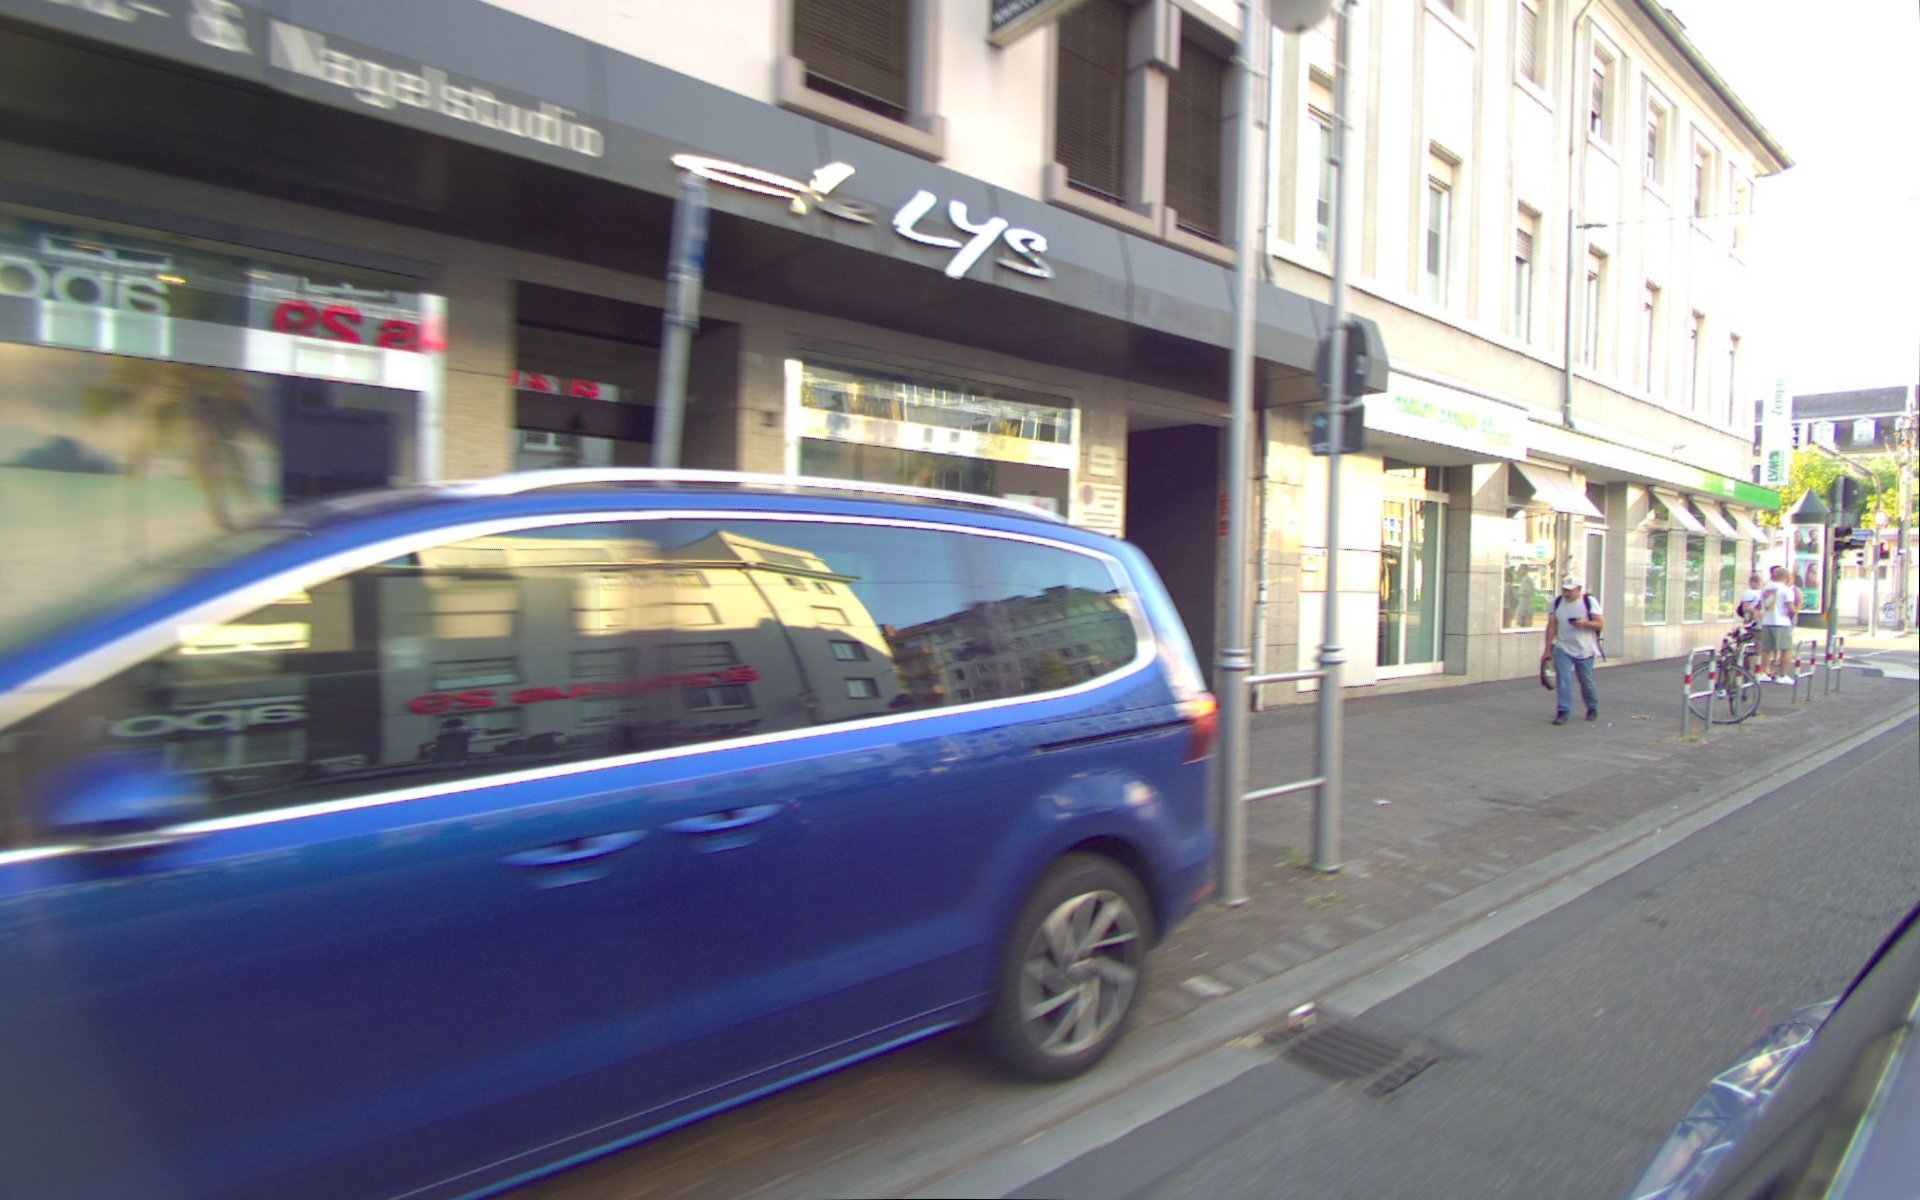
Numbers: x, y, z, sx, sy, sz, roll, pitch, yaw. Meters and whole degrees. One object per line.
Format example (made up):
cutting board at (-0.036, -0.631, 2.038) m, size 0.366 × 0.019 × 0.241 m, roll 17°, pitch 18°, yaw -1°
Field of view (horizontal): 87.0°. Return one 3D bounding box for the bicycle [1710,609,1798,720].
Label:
bicycle at (8.943, 0.688, 11.385) m, size 1.620 × 1.103 × 0.478 m, roll -1°, pitch 4°, yaw -43°

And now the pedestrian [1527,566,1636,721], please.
pedestrian at (6.638, 0.435, 10.810) m, size 0.854 × 1.567 × 0.699 m, roll 0°, pitch 2°, yaw -37°

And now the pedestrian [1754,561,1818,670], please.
pedestrian at (13.792, 0.242, 16.903) m, size 0.686 × 1.767 × 0.640 m, roll 0°, pitch 2°, yaw -37°

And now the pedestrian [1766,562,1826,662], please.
pedestrian at (15.527, 0.204, 18.803) m, size 0.635 × 1.800 × 0.672 m, roll 0°, pitch 2°, yaw -35°

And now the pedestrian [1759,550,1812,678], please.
pedestrian at (12.842, 0.199, 15.753) m, size 0.573 × 1.952 × 0.489 m, roll 2°, pitch 2°, yaw 40°

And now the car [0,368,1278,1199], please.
car at (-1.296, 0.465, 2.772) m, size 4.481 × 1.737 × 1.920 m, roll 0°, pitch 4°, yaw -39°

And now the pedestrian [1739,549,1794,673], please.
pedestrian at (12.995, 0.158, 16.309) m, size 0.637 × 1.952 × 0.522 m, roll 2°, pitch 2°, yaw 39°
